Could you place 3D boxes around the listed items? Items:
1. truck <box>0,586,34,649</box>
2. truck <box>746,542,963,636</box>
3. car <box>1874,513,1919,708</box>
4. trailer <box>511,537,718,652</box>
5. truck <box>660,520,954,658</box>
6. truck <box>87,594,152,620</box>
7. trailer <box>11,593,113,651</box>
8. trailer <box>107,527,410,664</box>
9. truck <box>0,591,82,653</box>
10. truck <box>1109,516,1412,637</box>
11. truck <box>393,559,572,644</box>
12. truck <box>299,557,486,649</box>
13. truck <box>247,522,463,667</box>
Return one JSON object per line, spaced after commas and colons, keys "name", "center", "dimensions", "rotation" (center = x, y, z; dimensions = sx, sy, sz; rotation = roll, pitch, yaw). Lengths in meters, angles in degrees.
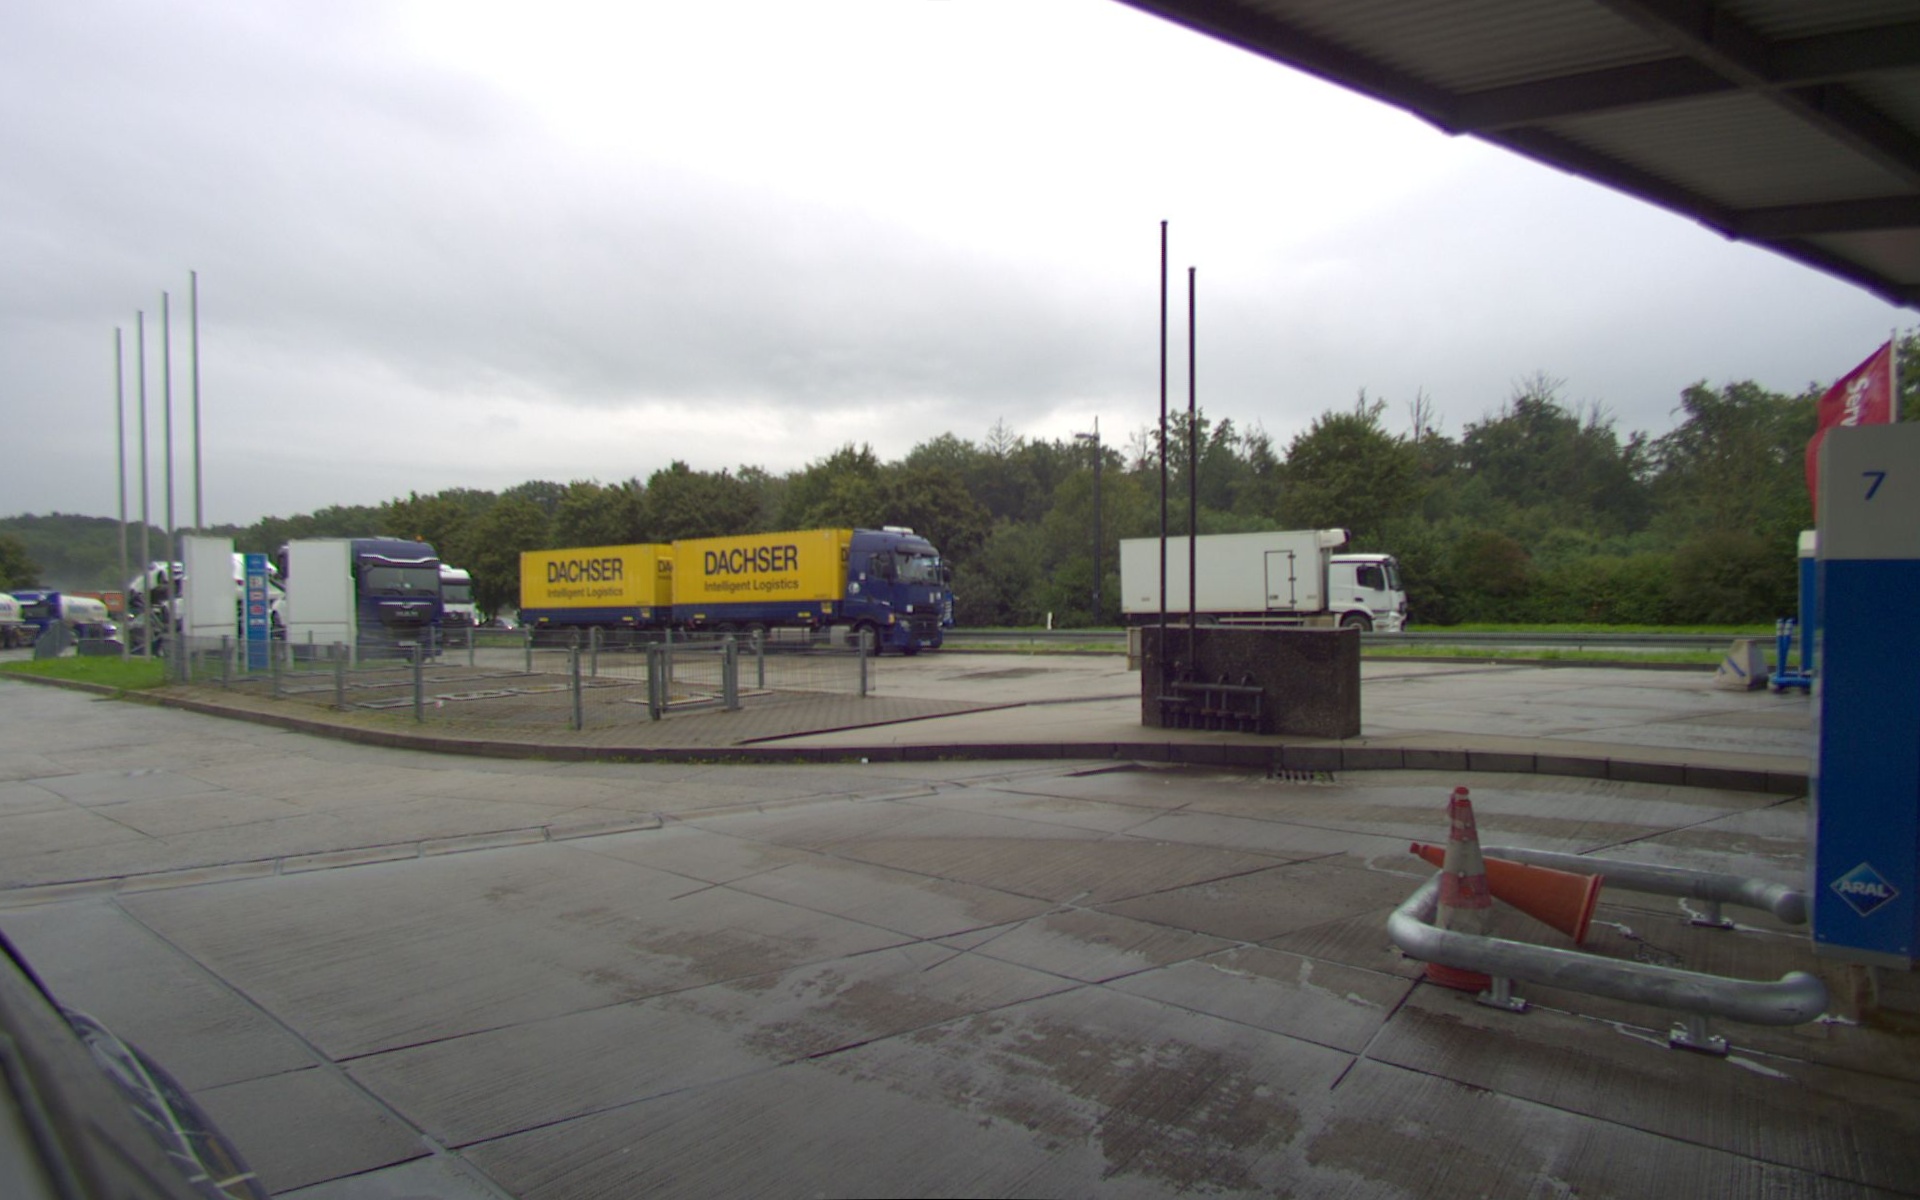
{"name": "truck", "center": [-55.542, 1.016, 55.009], "dimensions": [3.196, 3.591, 12.013], "rotation": [-1, 0, -19]}
{"name": "truck", "center": [-5.126, -0.437, 47.677], "dimensions": [10.433, 4.063, 2.961], "rotation": [-1, 0, 30]}
{"name": "car", "center": [14.878, 0.109, 12.356], "dimensions": [5.272, 2.482, 2.298], "rotation": [-1, -2, 37]}
{"name": "trailer", "center": [-13.532, -0.170, 39.276], "dimensions": [8.833, 4.063, 2.743], "rotation": [-1, 0, 33]}
{"name": "truck", "center": [-5.377, -0.274, 33.942], "dimensions": [10.608, 4.063, 2.743], "rotation": [-1, 0, 33]}
{"name": "truck", "center": [-121.004, 1.021, 145.591], "dimensions": [14.626, 3.591, 3.214], "rotation": [0, -2, 34]}
{"name": "trailer", "center": [-62.252, 1.431, 70.475], "dimensions": [2.854, 3.666, 10.605], "rotation": [-1, 0, -28]}
{"name": "trailer", "center": [-25.403, -0.059, 35.913], "dimensions": [16.563, 4.063, 2.957], "rotation": [-1, 0, 34]}
{"name": "truck", "center": [-59.407, 1.368, 64.989], "dimensions": [3.000, 3.795, 6.486], "rotation": [-1, 0, -27]}
{"name": "truck", "center": [11.005, -0.740, 37.731], "dimensions": [10.433, 4.063, 2.961], "rotation": [-1, 0, 30]}
{"name": "truck", "center": [-24.765, 0.138, 52.264], "dimensions": [10.433, 4.063, 2.961], "rotation": [-1, 0, 30]}
{"name": "truck", "center": [-27.286, 0.172, 48.435], "dimensions": [10.433, 4.063, 2.961], "rotation": [-1, 0, 30]}
{"name": "truck", "center": [-18.980, -0.116, 31.610], "dimensions": [7.244, 4.063, 2.957], "rotation": [-1, 0, 34]}
